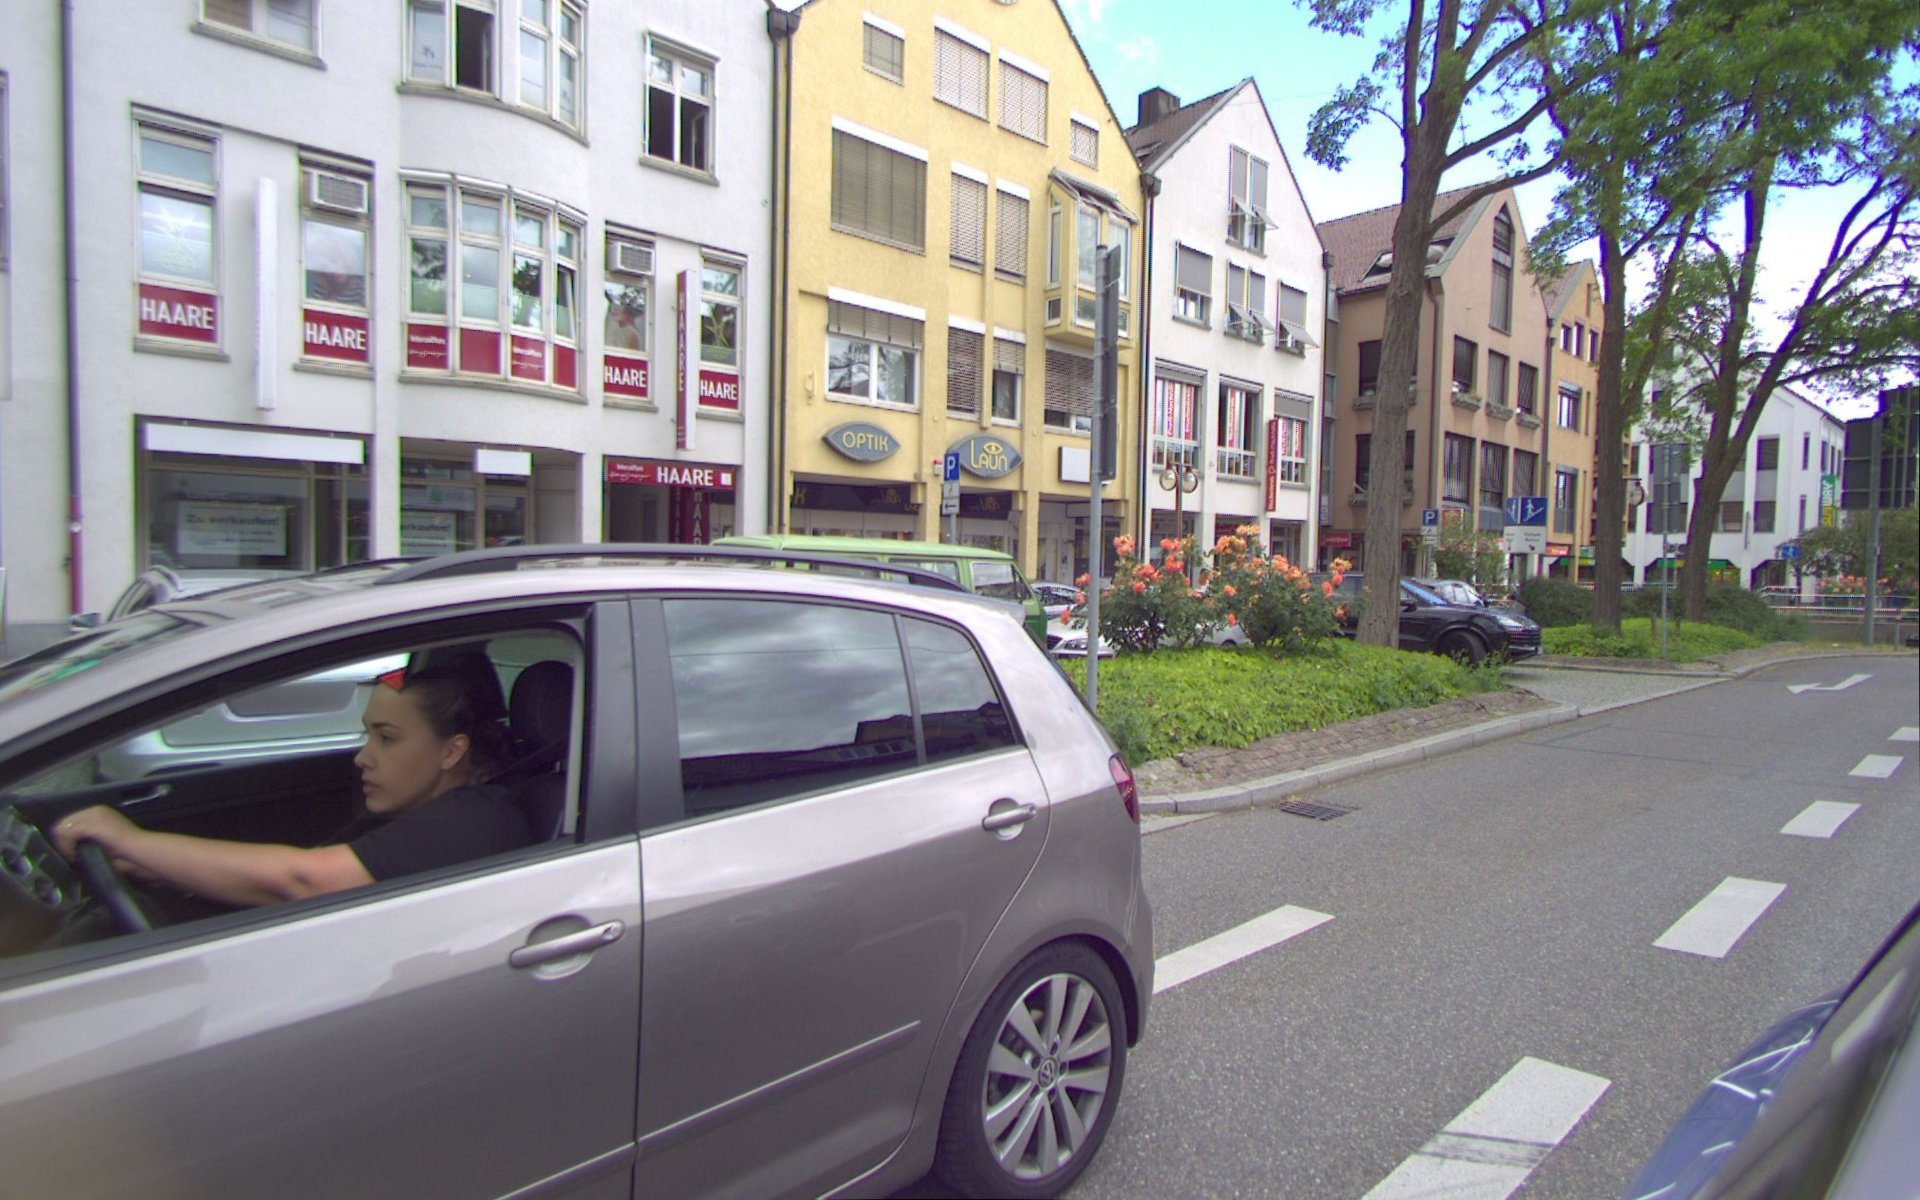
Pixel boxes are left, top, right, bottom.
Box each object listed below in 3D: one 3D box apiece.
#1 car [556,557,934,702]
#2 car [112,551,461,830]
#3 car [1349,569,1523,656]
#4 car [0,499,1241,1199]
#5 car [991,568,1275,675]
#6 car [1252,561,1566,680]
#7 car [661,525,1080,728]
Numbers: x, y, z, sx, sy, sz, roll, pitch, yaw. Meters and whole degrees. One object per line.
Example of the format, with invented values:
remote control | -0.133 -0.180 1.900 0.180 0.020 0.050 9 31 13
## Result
car | -2.739 0.259 13.695 4.677 1.566 1.995 -2 4 -45
car | -5.520 0.418 7.984 1.710 1.471 4.647 0 3 -41
car | 10.737 0.186 22.661 4.677 1.674 1.995 -2 4 -45
car | -1.238 0.645 2.290 3.931 1.549 1.799 0 1 -42
car | 2.779 0.217 15.511 4.675 1.325 1.841 -1 4 -44
car | 7.921 0.254 18.132 4.735 1.699 1.971 5 3 41
car | -0.875 0.154 11.906 4.676 1.898 1.996 -1 4 -44
